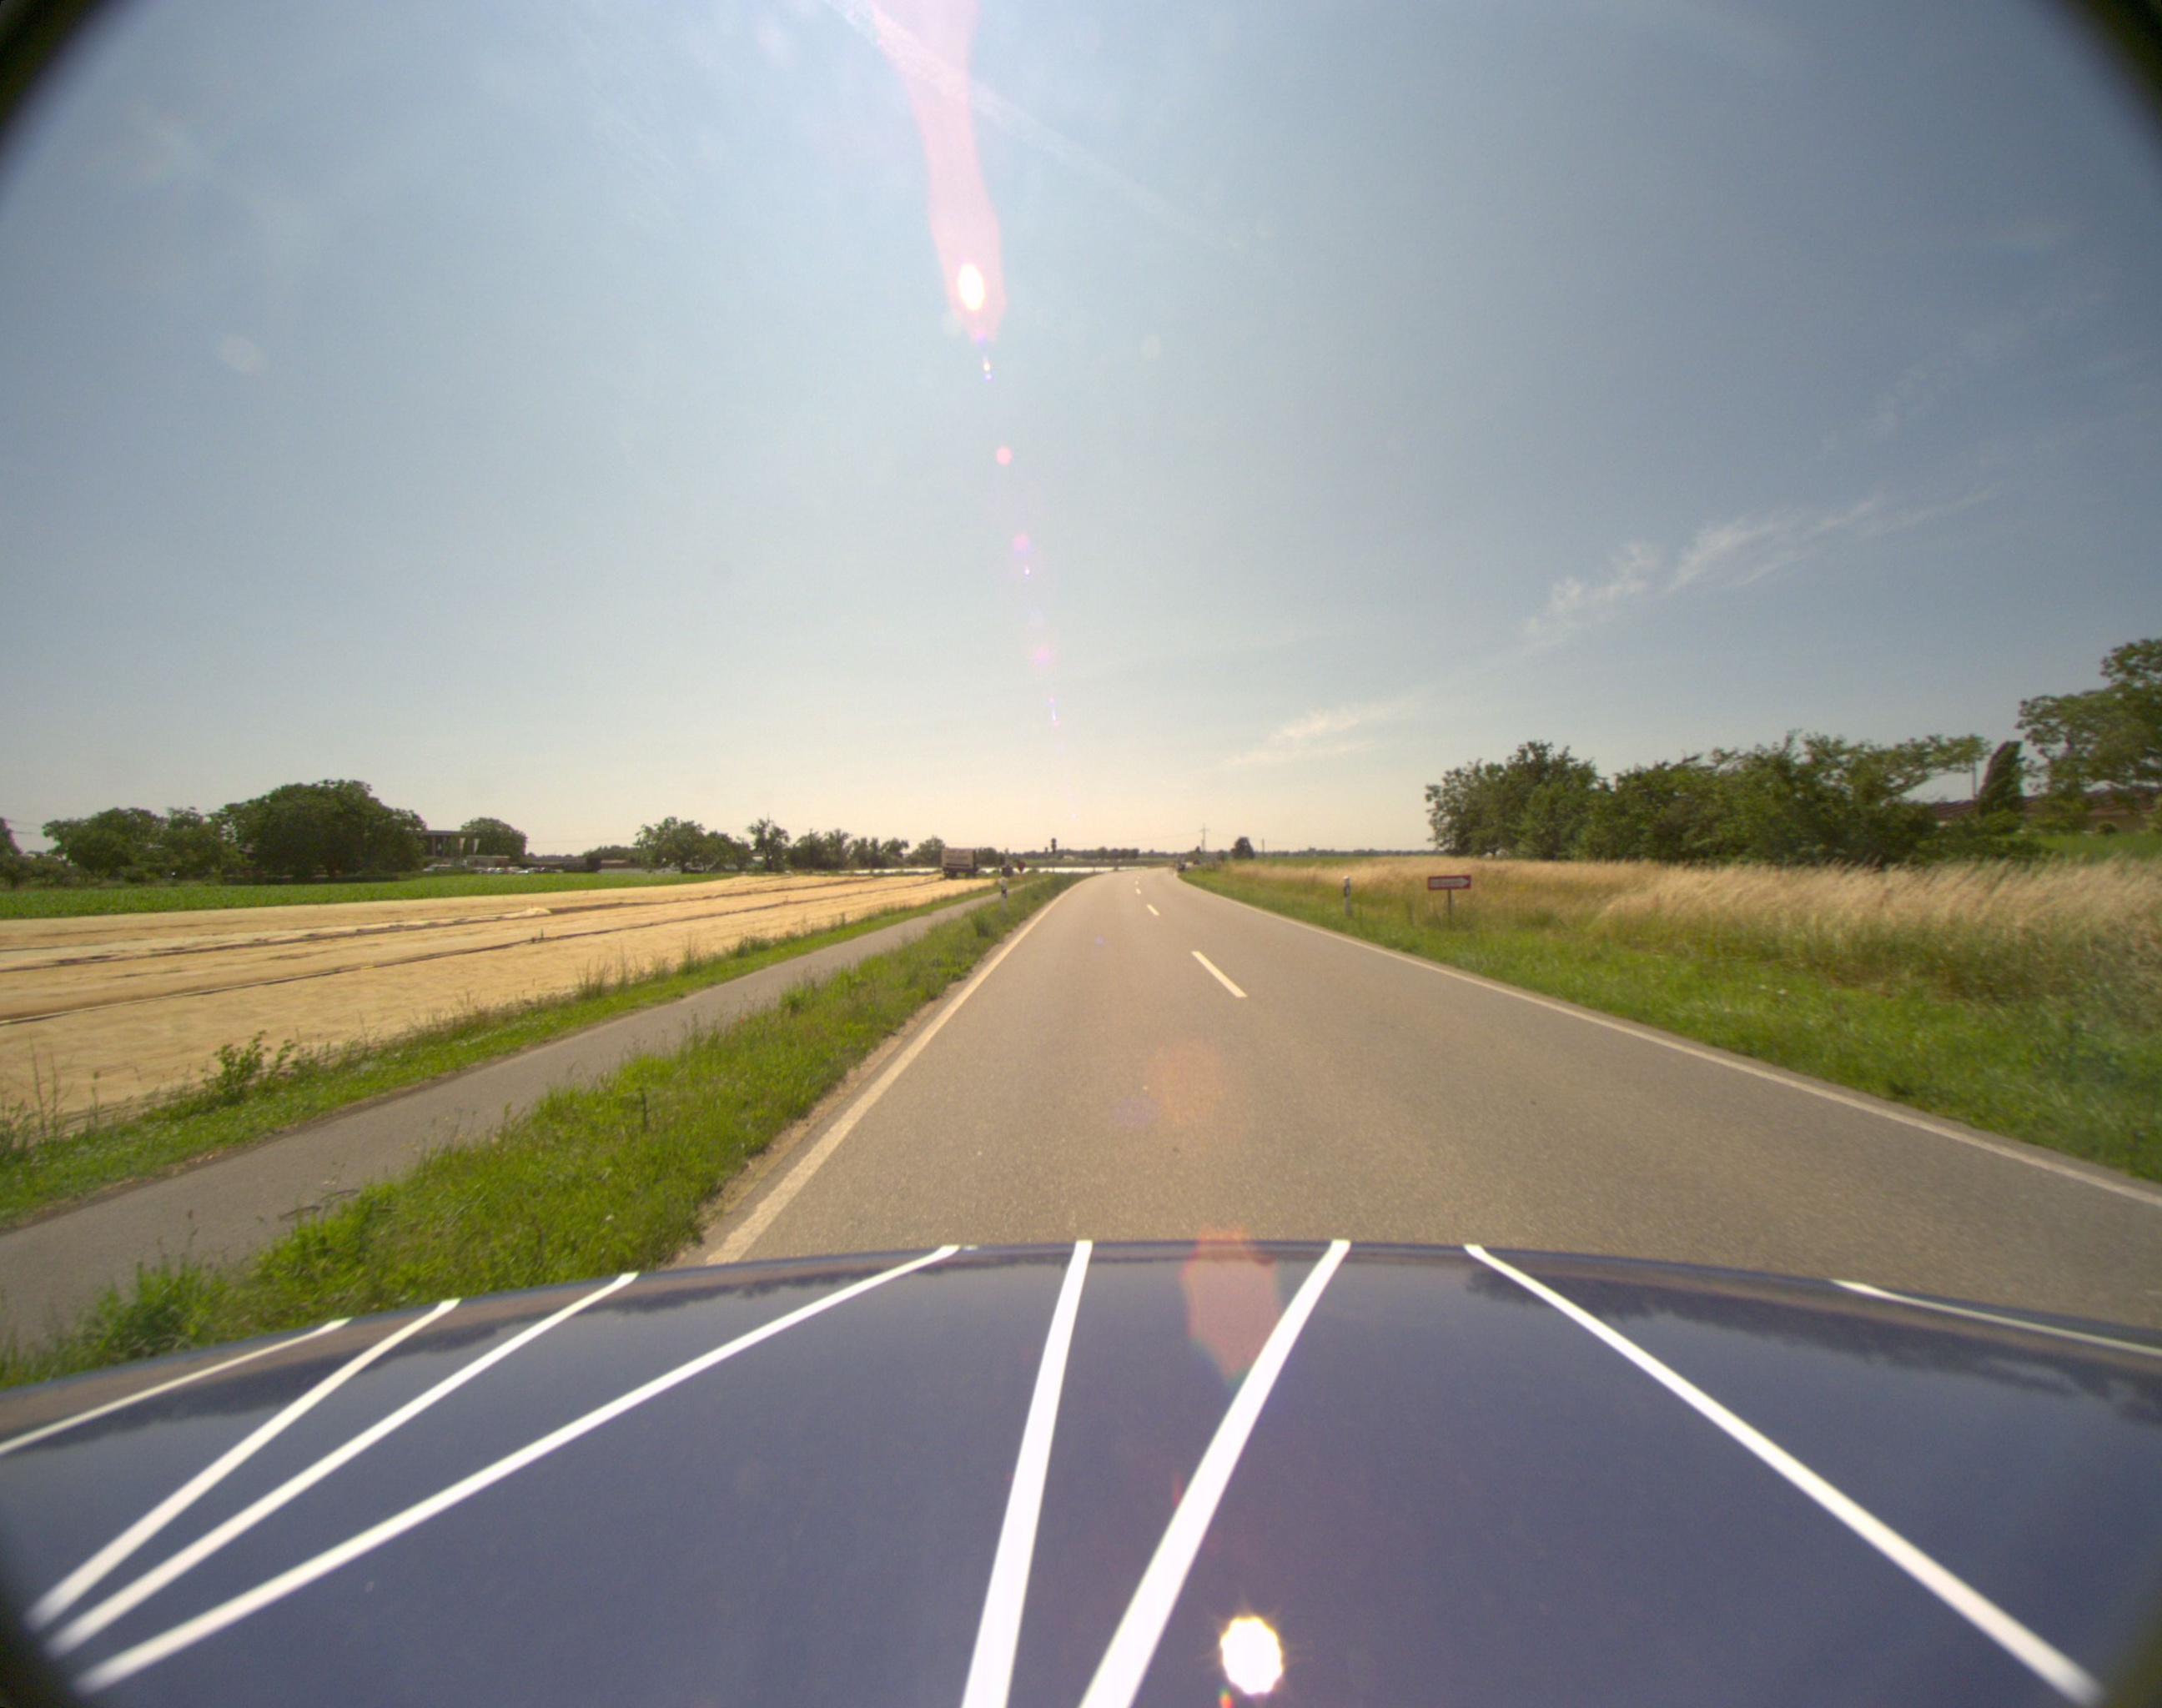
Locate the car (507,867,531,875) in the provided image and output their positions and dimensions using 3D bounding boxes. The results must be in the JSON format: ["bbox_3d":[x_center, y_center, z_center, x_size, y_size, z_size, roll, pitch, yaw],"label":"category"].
[{"bbox_3d":[-96.533,2.914,130.535,1.293,1.191,3.284,-1,0,17],"label":"car"}]

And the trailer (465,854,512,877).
[{"bbox_3d":[-114.300,2.124,146.608,7.428,4.197,3.160,-1,1,13],"label":"trailer"}]

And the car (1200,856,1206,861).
[{"bbox_3d":[37.862,1.350,235.362,1.744,1.349,4.422,1,0,11],"label":"car"}]

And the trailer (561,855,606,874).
[{"bbox_3d":[-88.276,1.836,134.745,7.422,3.274,3.265,-1,1,26],"label":"trailer"}]

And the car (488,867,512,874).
[{"bbox_3d":[-101.970,2.905,133.351,1.293,1.191,3.284,-1,0,17],"label":"car"}]

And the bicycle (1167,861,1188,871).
[{"bbox_3d":[9.600,1.216,75.639,1.921,0.986,0.683,-1,1,18],"label":"bicycle"}]

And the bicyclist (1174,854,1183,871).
[{"bbox_3d":[9.672,0.844,75.607,0.700,1.747,0.663,-1,1,18],"label":"bicyclist"}]

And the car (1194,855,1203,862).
[{"bbox_3d":[30.055,1.050,194.127,1.936,1.741,5.208,1,0,11],"label":"car"}]

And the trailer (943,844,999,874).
[{"bbox_3d":[-11.274,0.518,77.917,5.283,2.936,2.002,0,2,20],"label":"trailer"}]
